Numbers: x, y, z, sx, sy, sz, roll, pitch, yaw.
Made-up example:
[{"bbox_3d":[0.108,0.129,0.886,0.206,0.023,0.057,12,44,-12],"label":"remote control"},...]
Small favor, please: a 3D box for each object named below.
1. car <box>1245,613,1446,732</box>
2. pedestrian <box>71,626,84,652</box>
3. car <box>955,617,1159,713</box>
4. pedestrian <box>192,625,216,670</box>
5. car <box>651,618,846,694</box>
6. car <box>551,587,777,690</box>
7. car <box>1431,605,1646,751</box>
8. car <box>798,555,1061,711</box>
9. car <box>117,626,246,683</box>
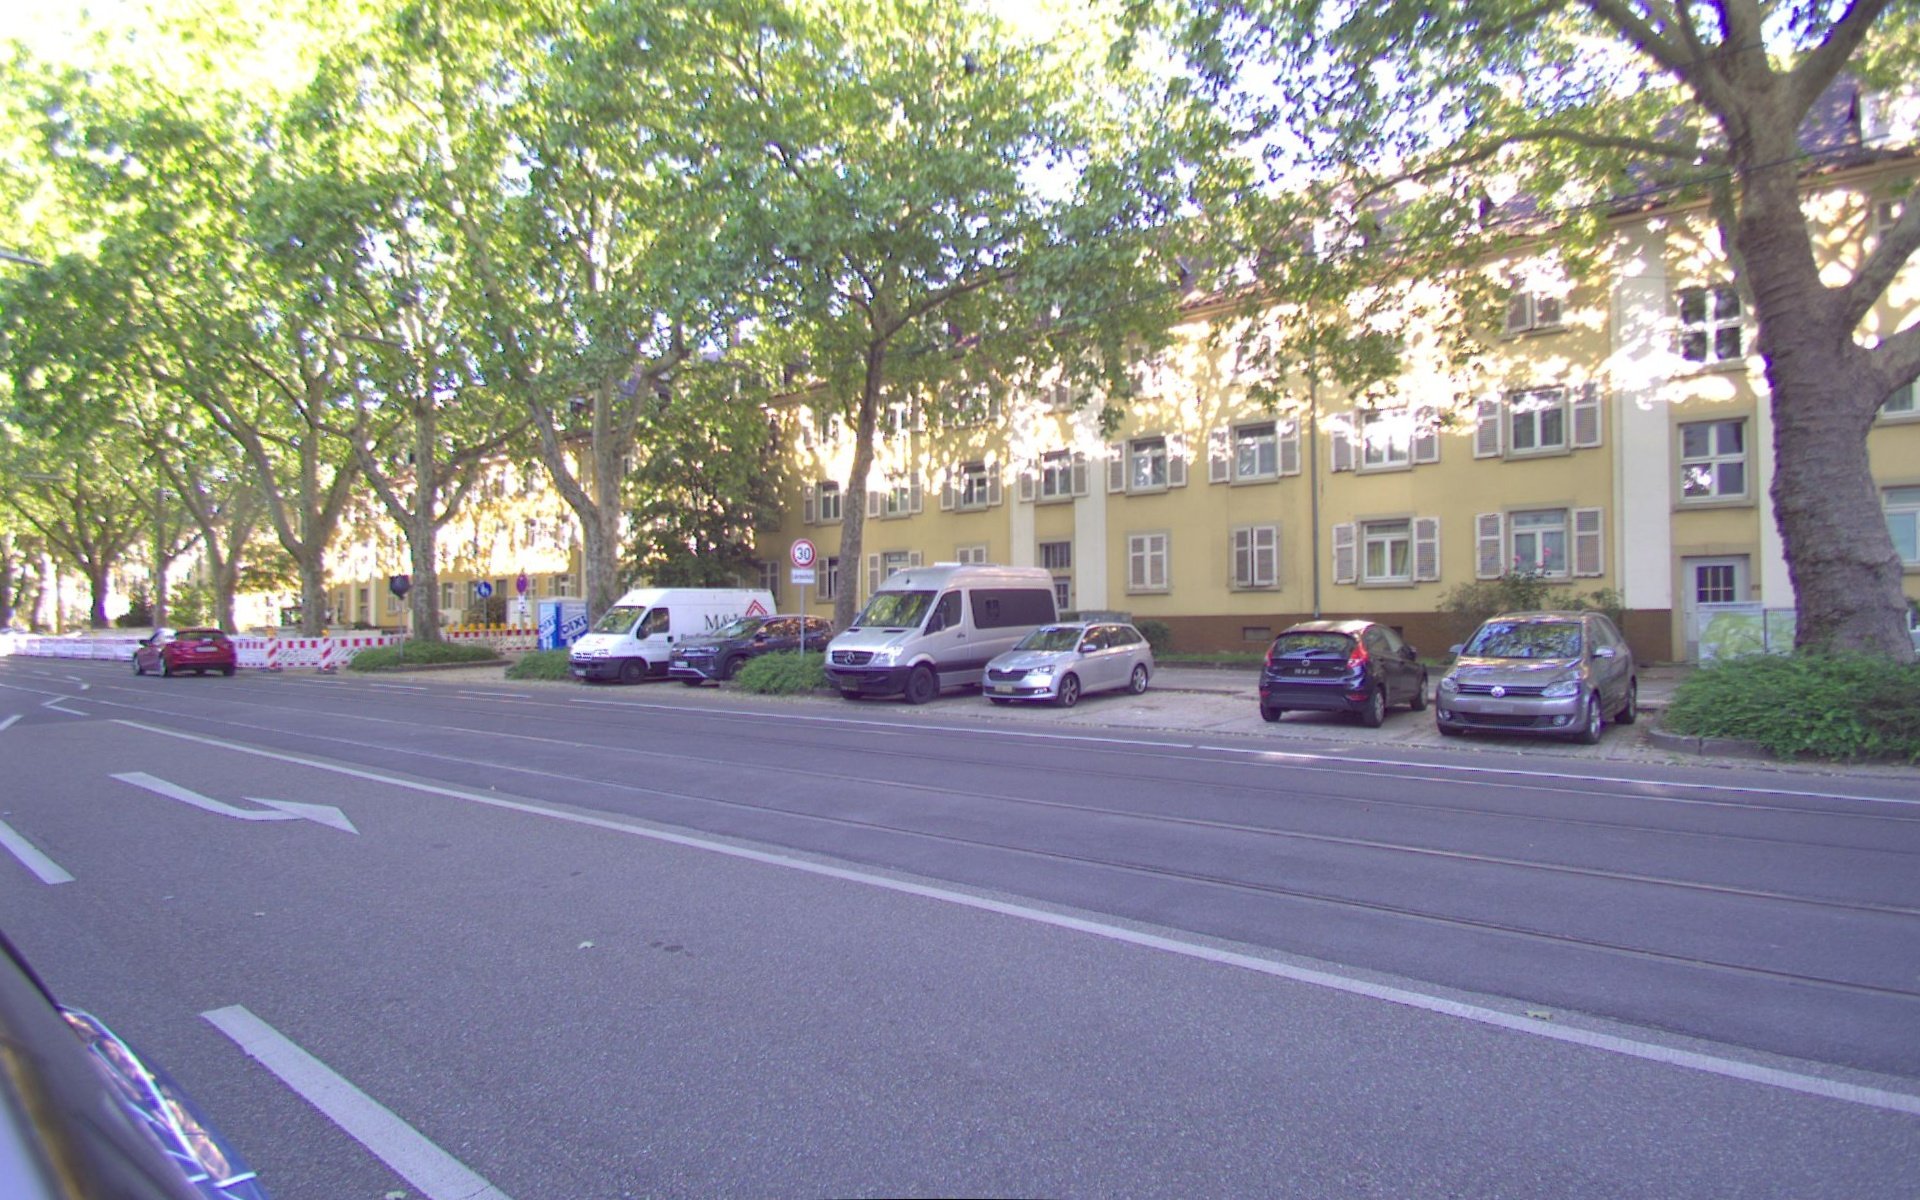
[{"bbox_3d":[5.960,1.003,15.425,1.671,1.509,3.756,-2,-1,41],"label":"car"},{"bbox_3d":[-66.846,2.971,76.681,0.722,1.900,0.666,-1,0,-42],"label":"pedestrian"},{"bbox_3d":[1.906,1.123,18.842,1.773,1.509,4.031,-2,-1,41],"label":"car"},{"bbox_3d":[-30.349,1.913,40.624,0.582,1.759,0.644,-1,0,37],"label":"pedestrian"},{"bbox_3d":[-4.984,1.278,24.454,1.772,1.664,4.570,-2,-2,38],"label":"car"},{"bbox_3d":[-7.567,0.966,26.381,2.222,2.394,5.336,-2,-2,40],"label":"car"},{"bbox_3d":[7.737,0.900,13.374,1.672,1.592,3.928,-2,-1,41],"label":"car"},{"bbox_3d":[-0.433,0.611,20.454,2.221,2.702,5.596,-2,-1,38],"label":"car"},{"bbox_3d":[-23.557,1.598,30.580,4.484,1.577,1.997,-2,-2,37],"label":"car"}]
